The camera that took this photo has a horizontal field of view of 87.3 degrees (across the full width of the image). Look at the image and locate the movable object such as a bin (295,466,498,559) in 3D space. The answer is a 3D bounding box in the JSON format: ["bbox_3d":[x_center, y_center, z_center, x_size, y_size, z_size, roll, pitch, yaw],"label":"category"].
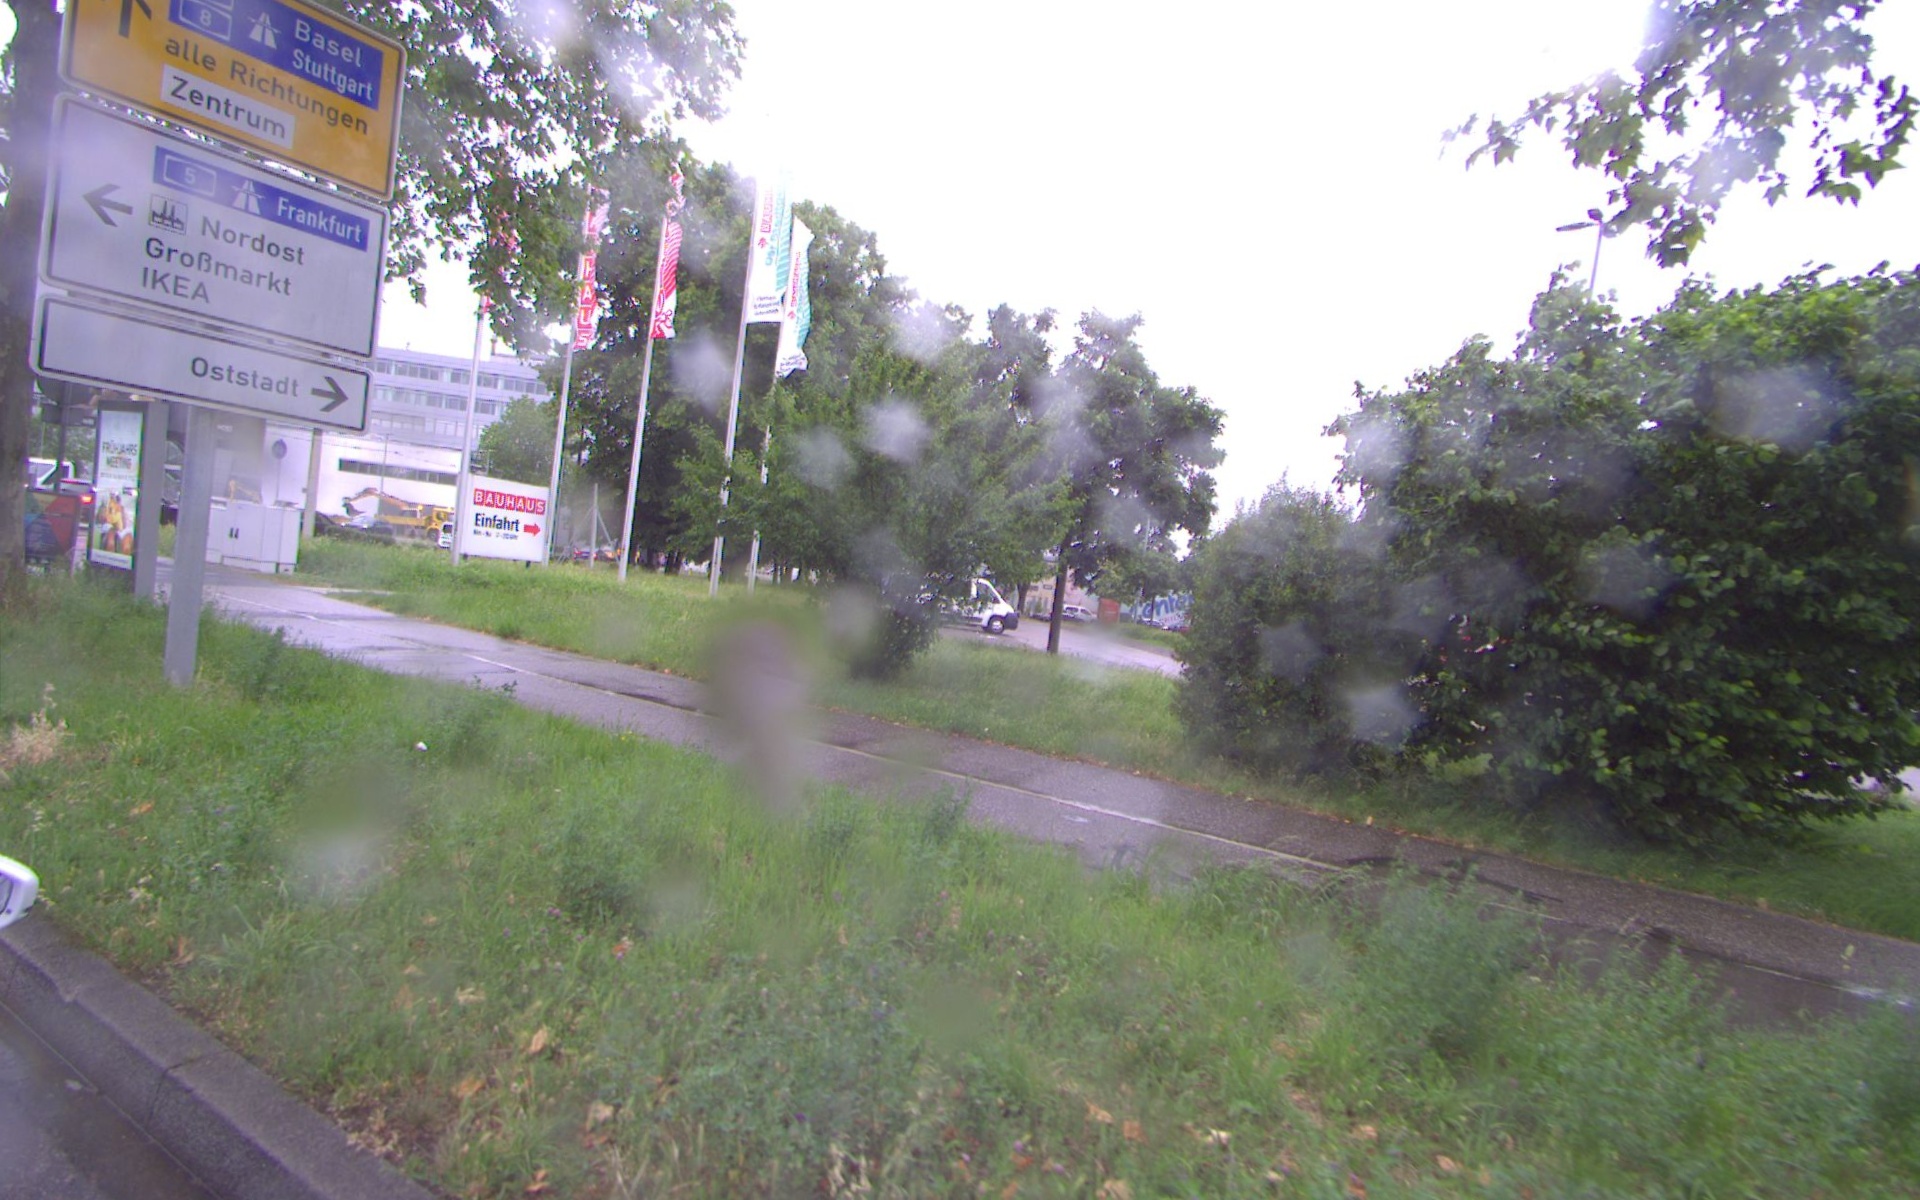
[{"bbox_3d":[-55.065,-8.437,99.101,14.695,6.356,8.270,7,-1,-2],"label":"movable object such as a bin"}]

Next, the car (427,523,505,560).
[{"bbox_3d":[-26.806,-3.135,54.785,1.768,1.556,4.387,7,0,3],"label":"car"}]

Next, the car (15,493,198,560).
[{"bbox_3d":[-26.590,-2.223,31.566,1.768,1.556,4.387,7,0,3],"label":"car"}]

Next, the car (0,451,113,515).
[{"bbox_3d":[-37.728,-4.804,41.550,1.769,2.220,4.380,6,2,-3],"label":"car"}]

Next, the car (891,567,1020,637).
[{"bbox_3d":[-0.202,0.089,40.850,4.833,2.180,1.803,7,0,-9],"label":"car"}]

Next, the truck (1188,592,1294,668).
[{"bbox_3d":[16.604,1.670,60.262,2.950,3.857,8.951,7,0,-4],"label":"truck"}]

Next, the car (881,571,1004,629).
[{"bbox_3d":[-1.059,0.001,58.057,6.702,2.464,2.327,7,0,-4],"label":"car"}]

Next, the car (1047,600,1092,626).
[{"bbox_3d":[11.029,1.322,101.478,4.085,2.037,2.001,7,-1,1],"label":"car"}]

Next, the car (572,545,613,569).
[{"bbox_3d":[-29.238,-3.368,80.143,1.769,1.556,4.384,7,0,-4],"label":"car"}]

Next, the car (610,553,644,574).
[{"bbox_3d":[-30.320,-3.325,91.734,1.770,1.556,4.383,7,0,-4],"label":"car"}]
